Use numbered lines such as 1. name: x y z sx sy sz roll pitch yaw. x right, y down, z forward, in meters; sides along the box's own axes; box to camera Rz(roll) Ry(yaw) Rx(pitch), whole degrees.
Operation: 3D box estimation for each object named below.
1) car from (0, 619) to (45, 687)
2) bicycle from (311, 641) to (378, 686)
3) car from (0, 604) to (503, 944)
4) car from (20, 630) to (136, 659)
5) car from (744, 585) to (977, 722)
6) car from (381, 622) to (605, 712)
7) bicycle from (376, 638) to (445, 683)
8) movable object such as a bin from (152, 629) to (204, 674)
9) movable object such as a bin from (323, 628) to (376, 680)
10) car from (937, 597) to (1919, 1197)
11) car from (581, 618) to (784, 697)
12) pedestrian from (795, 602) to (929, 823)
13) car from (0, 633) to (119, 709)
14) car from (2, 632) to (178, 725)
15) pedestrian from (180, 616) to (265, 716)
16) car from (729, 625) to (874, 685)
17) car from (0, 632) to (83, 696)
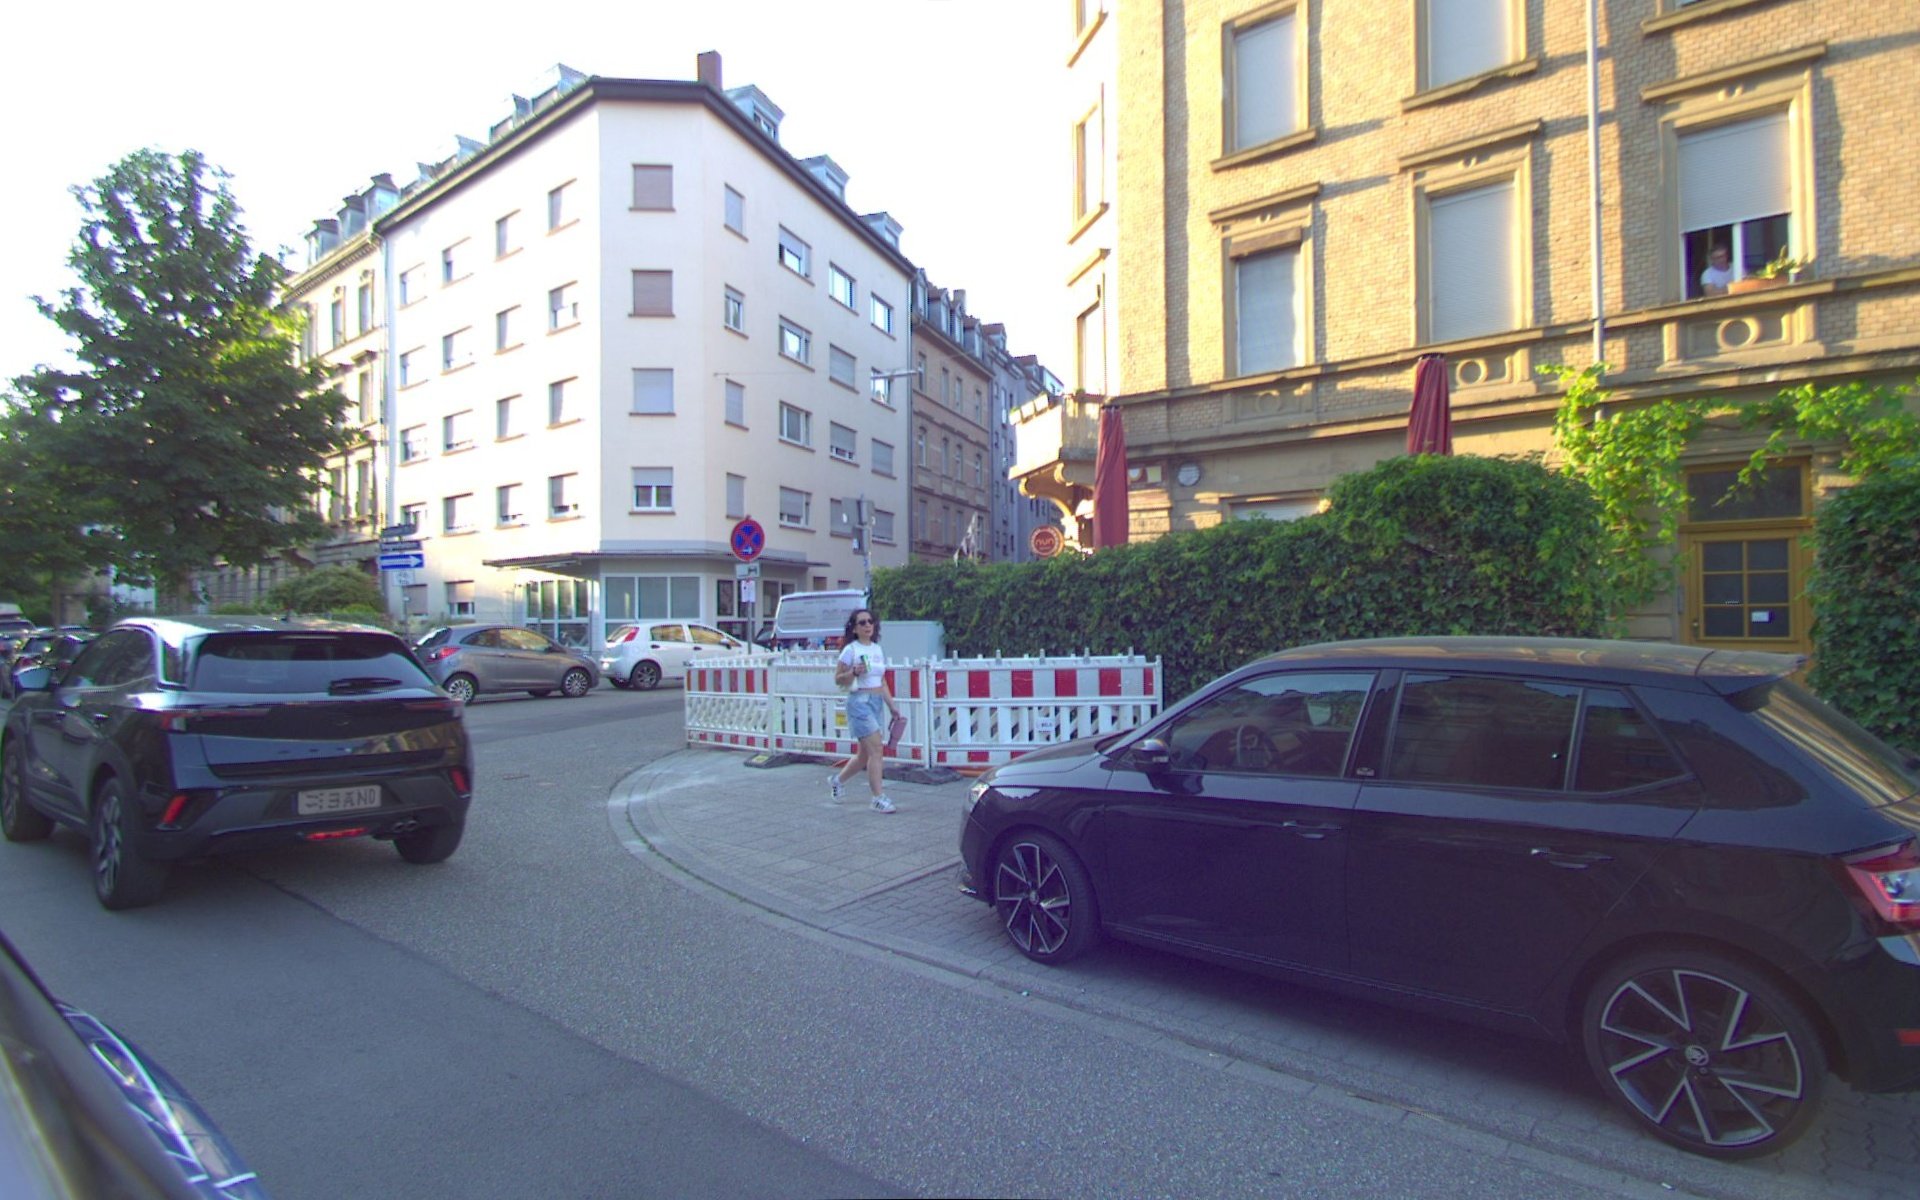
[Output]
1. car: -27.407 1.473 28.461 4.618 1.792 1.843 -2 -1 39
2. bicycle: -15.321 1.559 25.181 1.927 1.033 0.681 -2 0 35
3. car: -4.834 0.846 6.510 3.994 1.529 1.763 -1 -3 37
4. car: -45.755 2.276 52.560 1.625 1.351 4.356 -2 -1 41
5. car: -1.474 0.863 17.570 2.189 1.990 5.265 -2 -2 17
6. car: -8.941 1.226 19.538 1.843 1.519 3.471 -3 -2 39
7. bicycle: -14.295 1.565 26.351 1.528 1.100 0.500 -2 0 3
8. movable object such as a bin: -25.554 1.681 33.068 1.549 1.398 0.937 -2 0 37
9. movable object such as a bin: -16.780 1.471 27.805 1.398 1.362 0.857 -2 0 42
10. car: 1.895 0.798 4.228 3.841 1.546 1.686 -2 -1 41
11. car: -6.317 1.240 23.169 4.007 1.520 1.978 -2 0 -38
12. pedestrian: -0.763 0.844 7.986 0.782 1.630 0.706 -2 0 24
13. car: -19.660 1.465 21.890 4.142 1.431 1.723 -2 -1 43
14. car: -16.089 1.361 18.645 4.458 1.472 1.658 -2 -1 38
15. pedestrian: -13.439 1.171 18.475 0.877 1.735 0.960 -1 0 -8
16. car: -4.118 1.428 26.970 1.986 1.450 4.047 -2 -2 23
17. car: -23.585 1.538 25.228 4.586 1.423 1.843 -2 -1 39
